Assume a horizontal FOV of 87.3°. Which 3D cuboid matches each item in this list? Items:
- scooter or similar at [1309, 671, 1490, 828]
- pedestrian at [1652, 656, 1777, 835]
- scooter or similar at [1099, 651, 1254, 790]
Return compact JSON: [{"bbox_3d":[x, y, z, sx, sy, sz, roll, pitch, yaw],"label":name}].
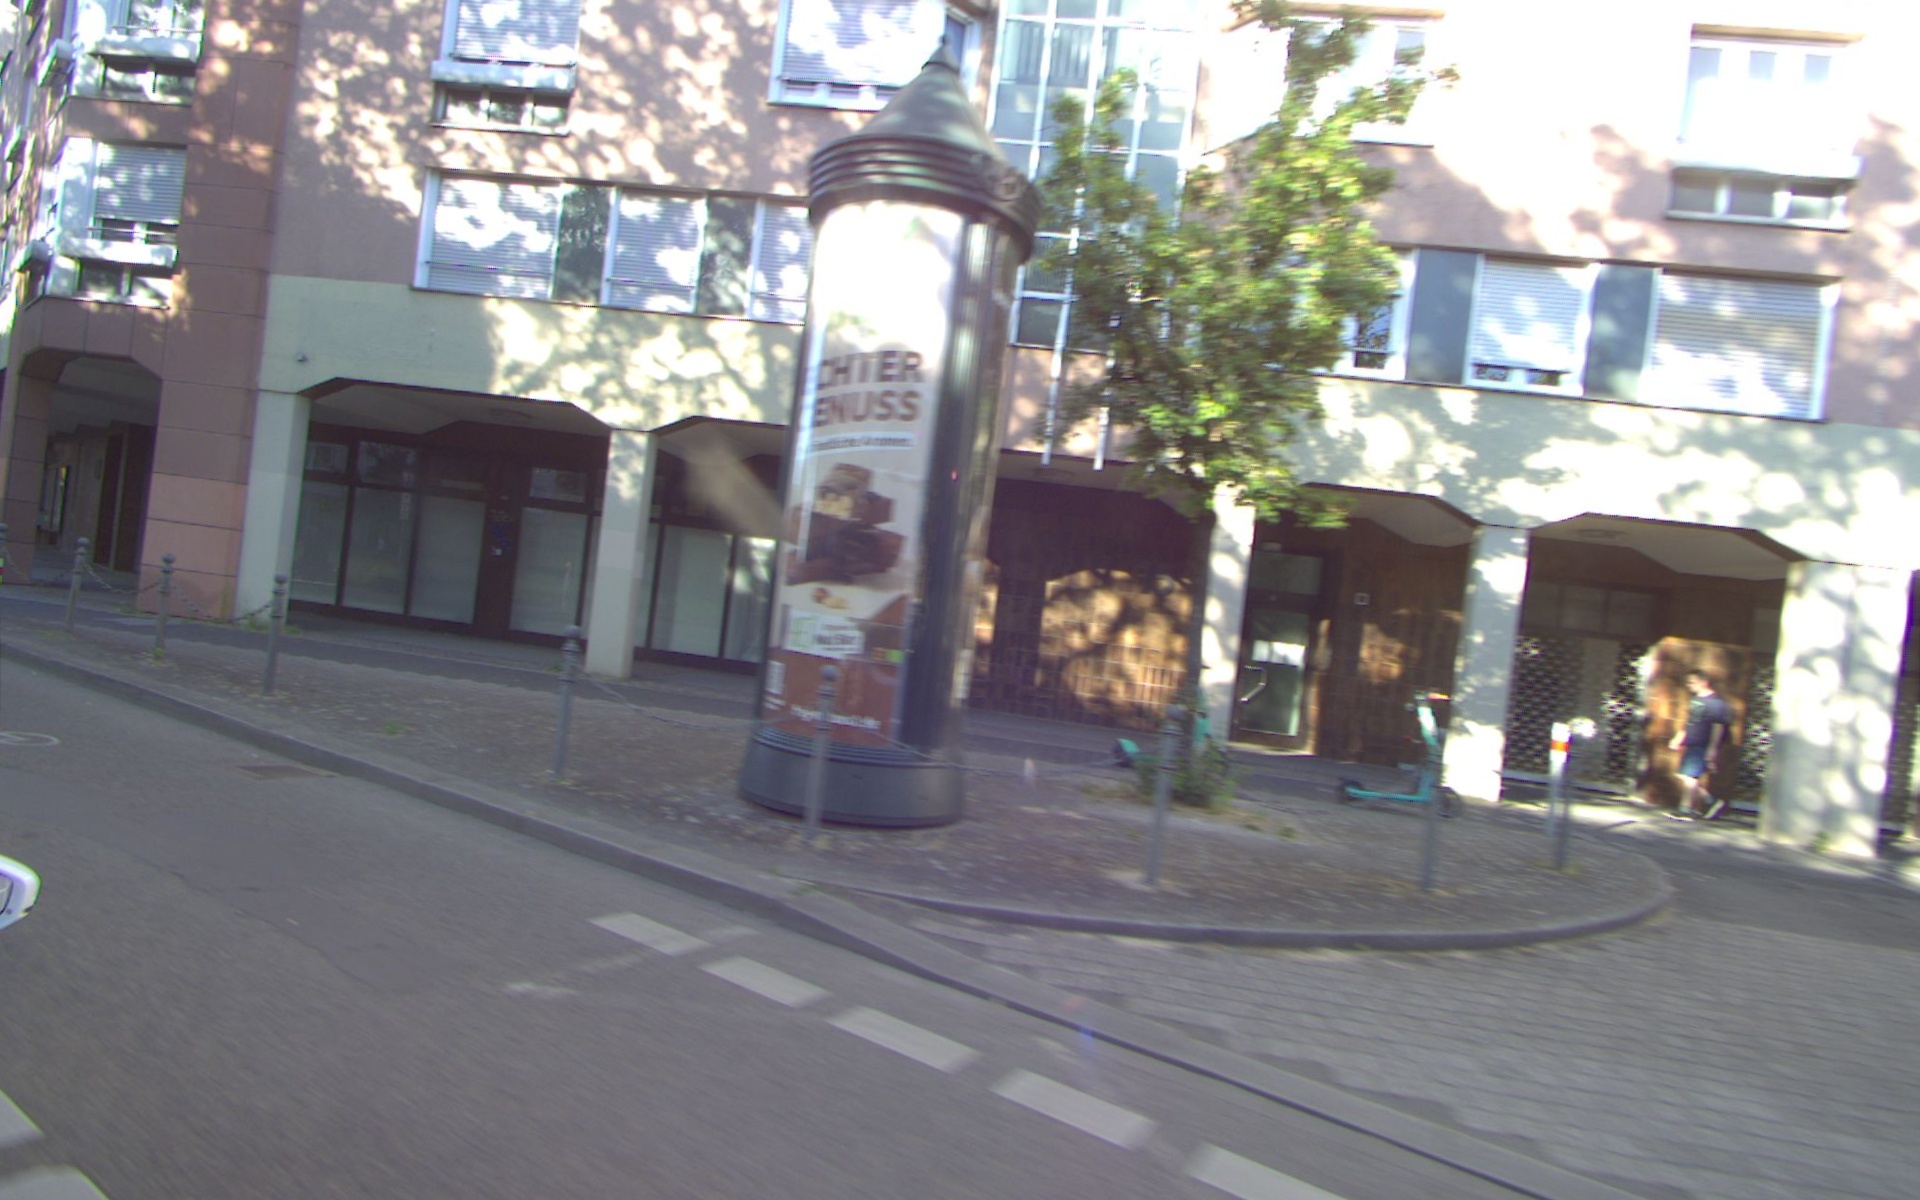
[{"bbox_3d":[4.279,1.440,9.873,1.423,1.289,0.486,7,0,10],"label":"scooter or similar"},{"bbox_3d":[9.206,1.745,12.324,0.832,2.005,0.818,7,0,21],"label":"pedestrian"},{"bbox_3d":[2.257,1.238,10.573,1.423,1.231,0.486,7,0,10],"label":"scooter or similar"}]
